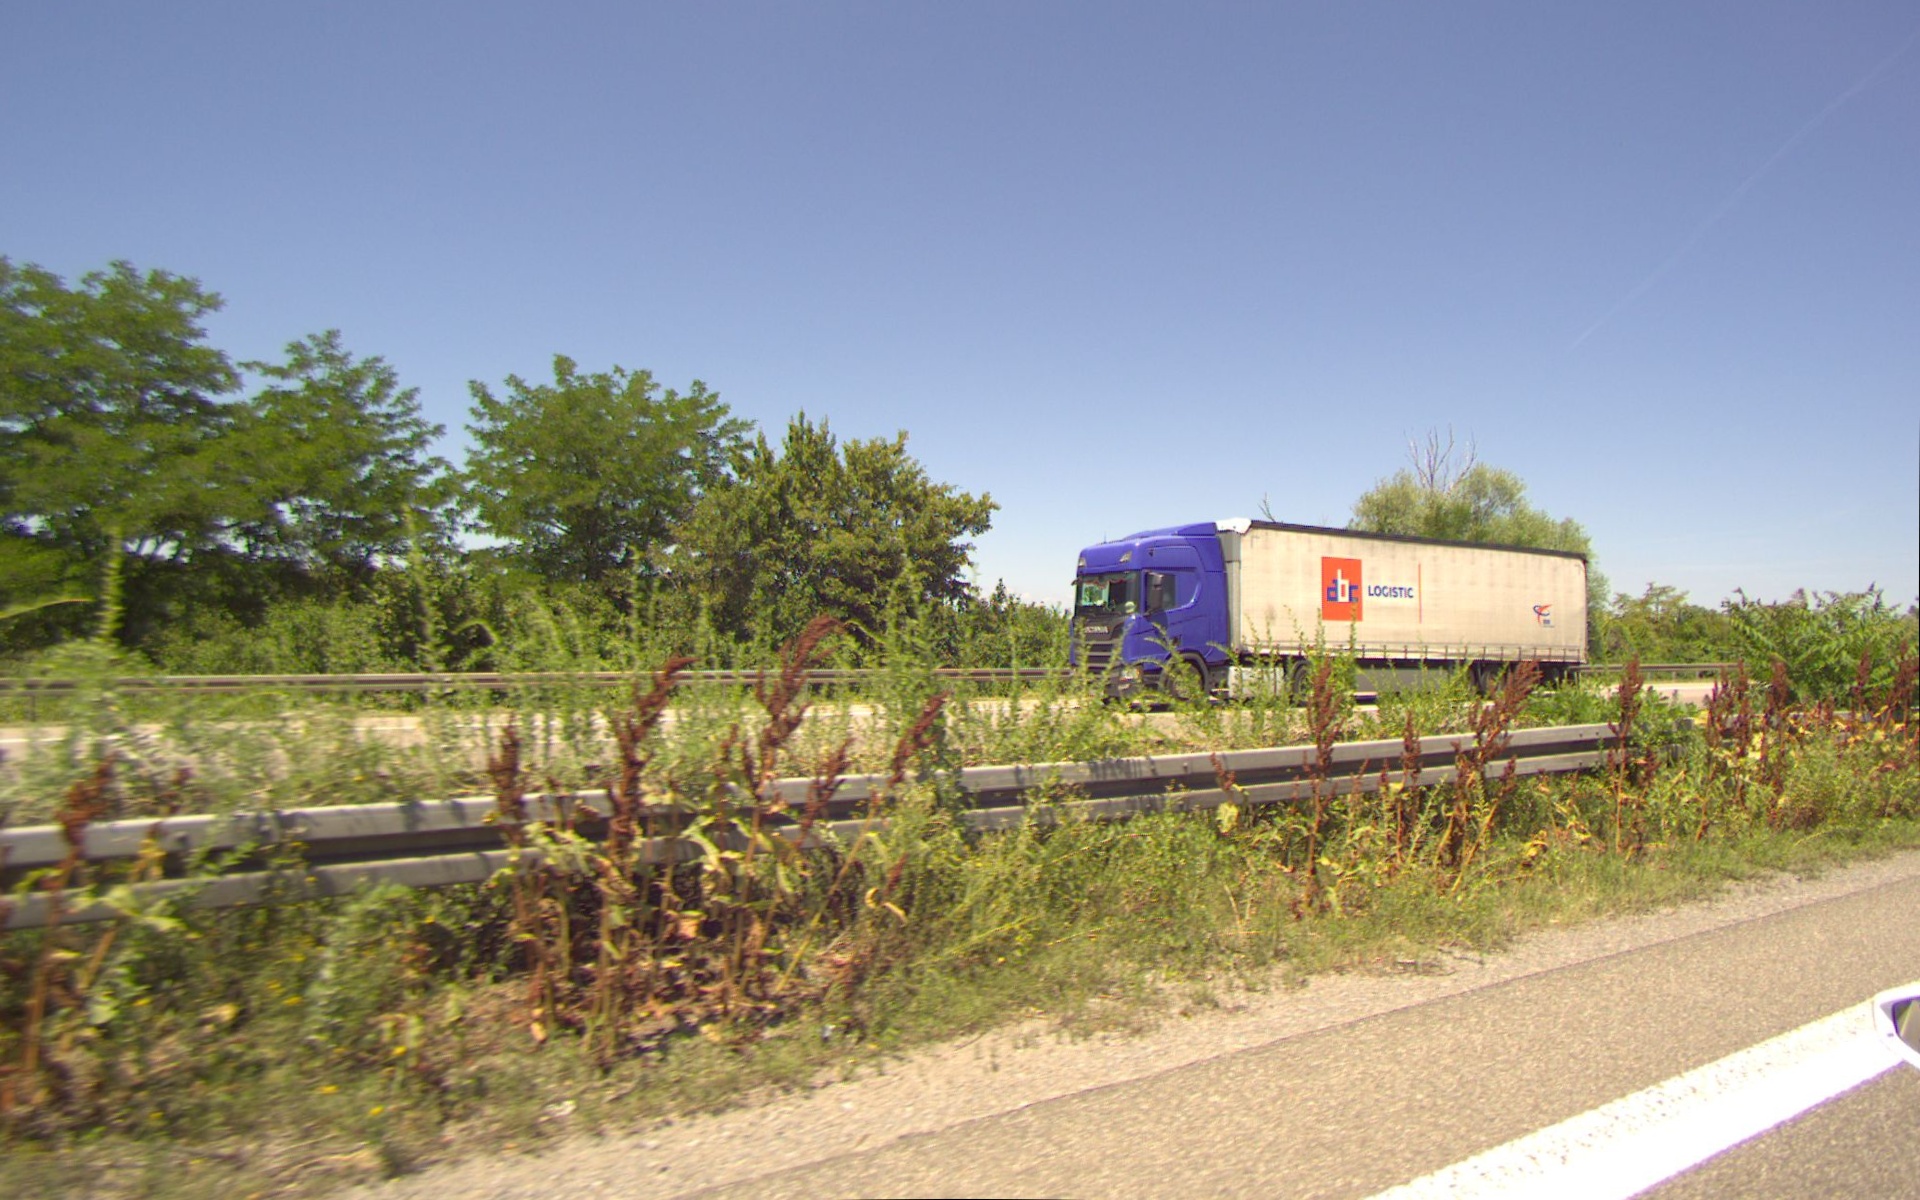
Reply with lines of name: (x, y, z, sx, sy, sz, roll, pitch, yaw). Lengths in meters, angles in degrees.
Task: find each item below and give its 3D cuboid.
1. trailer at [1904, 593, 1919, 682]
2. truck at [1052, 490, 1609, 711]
trailer: (48.529, 1.808, 47.308, 10.410, 4.019, 2.909, 2, -3, -30)
truck: (10.262, 0.299, 25.564, 17.263, 4.399, 2.942, 2, -2, -30)
